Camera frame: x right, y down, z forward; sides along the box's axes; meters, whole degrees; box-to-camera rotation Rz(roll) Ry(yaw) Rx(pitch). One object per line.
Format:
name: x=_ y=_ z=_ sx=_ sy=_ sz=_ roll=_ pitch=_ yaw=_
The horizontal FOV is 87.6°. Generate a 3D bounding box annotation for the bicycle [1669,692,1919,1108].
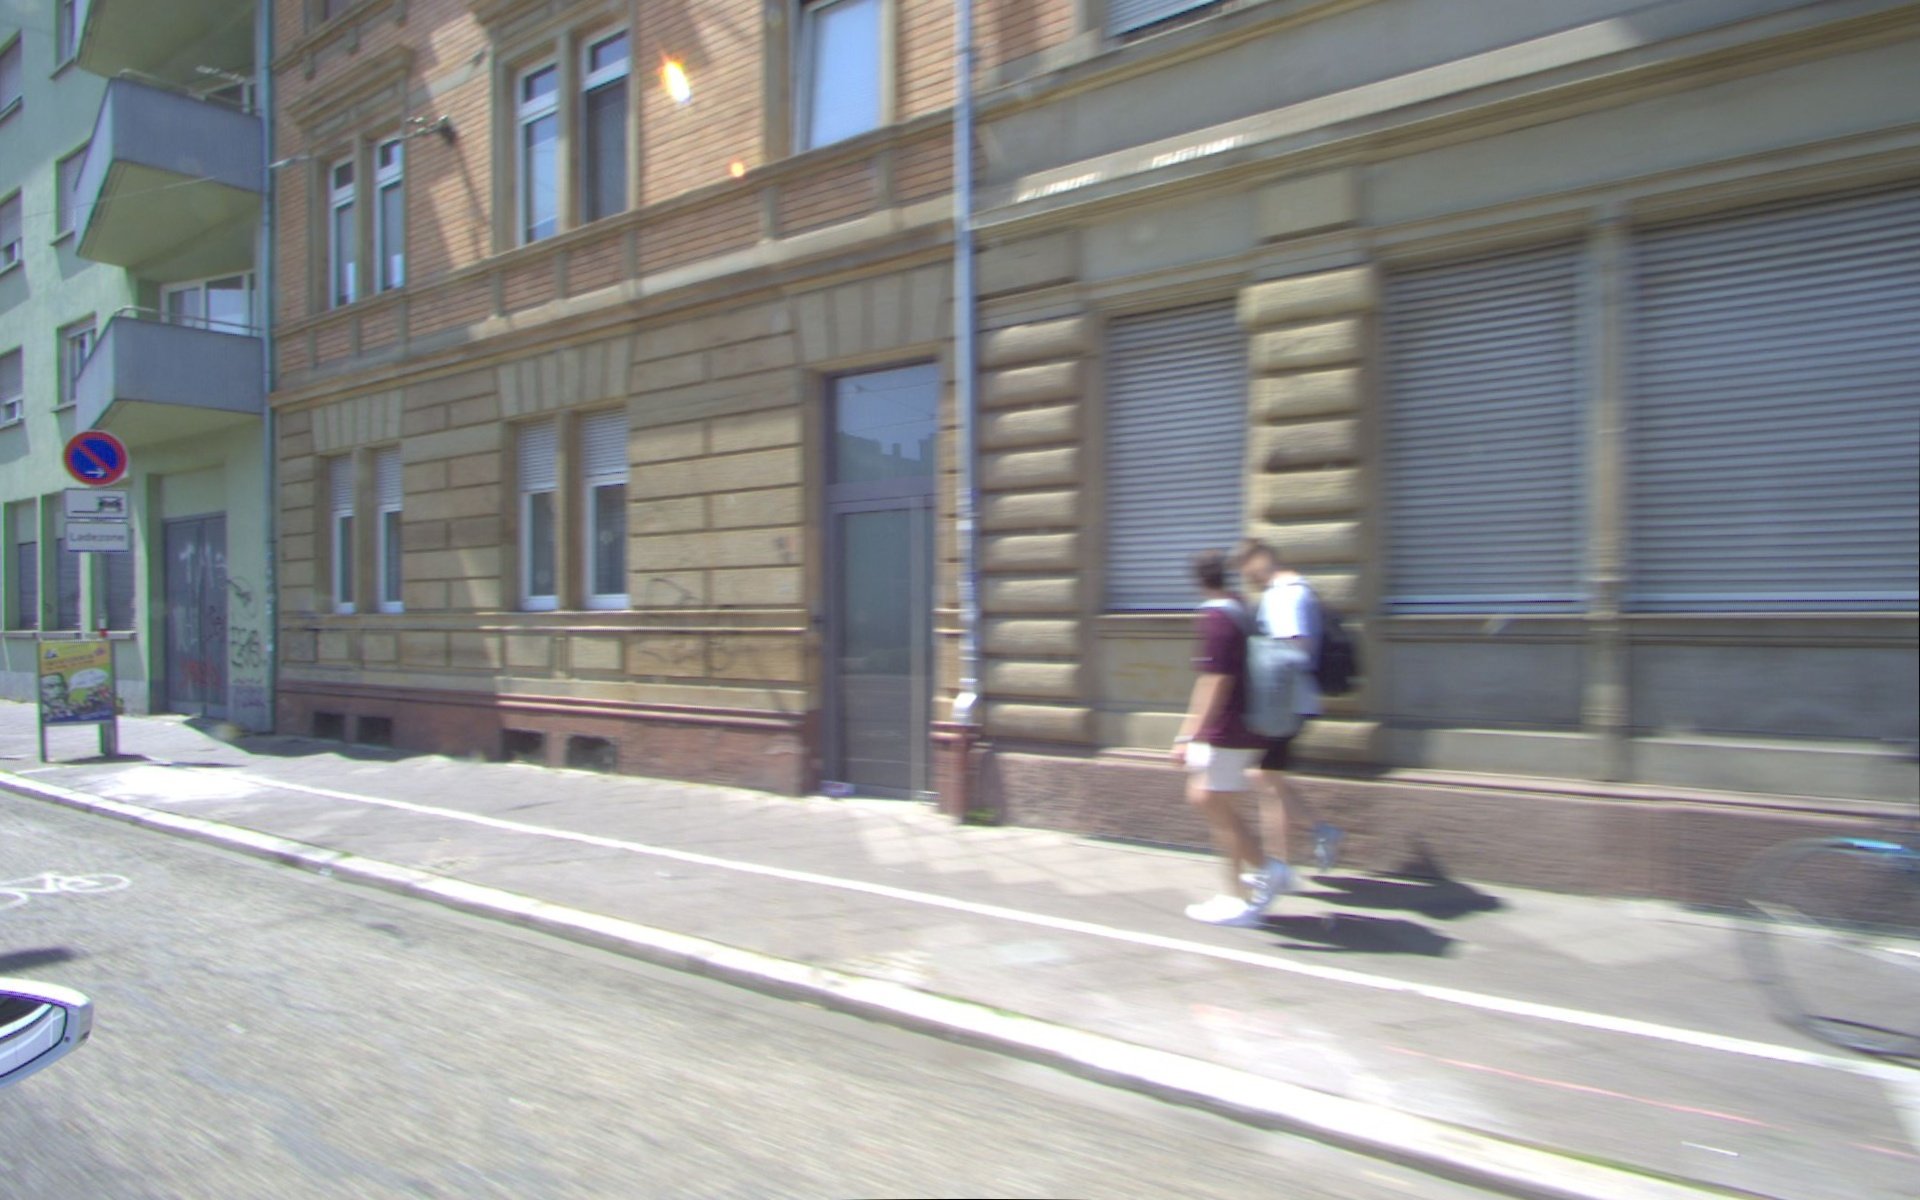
bicycle: x=3.236 y=0.910 z=2.653 sx=0.493 sy=1.145 sz=2.232 roll=-1 pitch=0 yaw=-28

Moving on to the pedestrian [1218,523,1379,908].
pedestrian: x=1.808 y=0.553 z=5.309 sx=0.635 sy=1.875 sz=0.700 roll=0 pitch=4 yaw=34

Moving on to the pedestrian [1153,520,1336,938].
pedestrian: x=1.334 y=0.544 z=4.658 sx=0.635 sy=1.742 sz=0.718 roll=0 pitch=0 yaw=34
